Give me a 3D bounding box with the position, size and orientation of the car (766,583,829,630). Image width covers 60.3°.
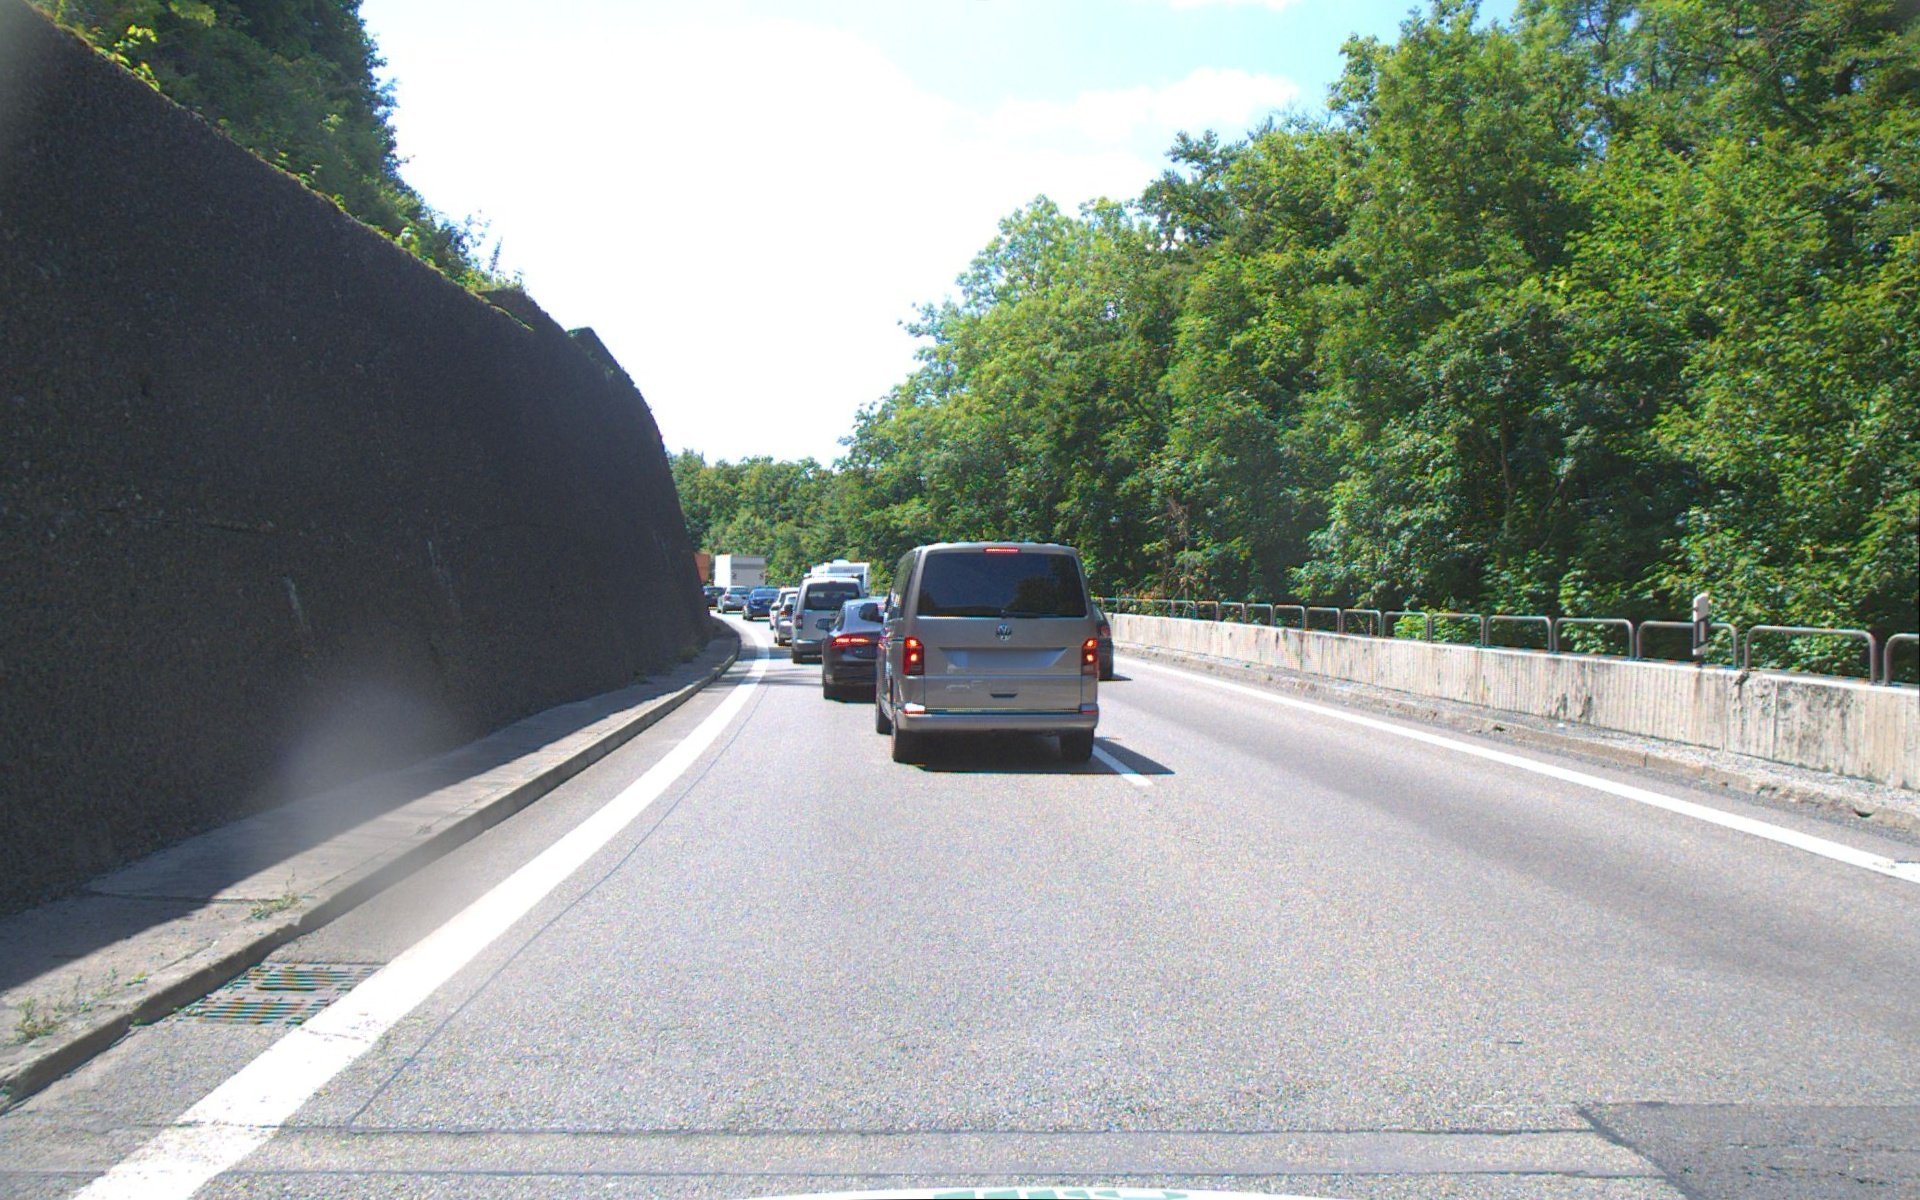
[{"bbox_3d":[-5.971,0.227,60.496,1.862,1.612,3.759,-1,0,-13],"label":"car"}]

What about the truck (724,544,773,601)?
[{"bbox_3d":[-15.418,-1.990,120.033,2.873,3.750,7.705,5,0,-10],"label":"truck"}]

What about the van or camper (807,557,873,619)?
[{"bbox_3d":[-6.054,-0.641,82.764,2.557,2.905,6.320,-1,1,-10],"label":"van or camper"}]

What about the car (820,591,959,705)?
[{"bbox_3d":[-1.064,0.650,24.865,1.867,1.515,4.377,2,0,-3],"label":"car"}]

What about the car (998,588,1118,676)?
[{"bbox_3d":[1.739,0.549,30.621,1.652,1.484,3.996,2,0,-5],"label":"car"}]

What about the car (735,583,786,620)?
[{"bbox_3d":[-9.158,0.050,75.702,1.827,1.648,3.984,0,0,-15],"label":"car"}]

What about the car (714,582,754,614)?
[{"bbox_3d":[-12.318,-0.133,90.020,1.957,1.646,3.991,1,0,-10],"label":"car"}]

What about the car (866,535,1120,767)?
[{"bbox_3d":[0.162,0.426,16.569,1.903,1.965,4.687,1,0,-7],"label":"car"}]

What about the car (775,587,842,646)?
[{"bbox_3d":[-4.316,0.439,47.221,1.737,1.497,3.996,3,0,-5],"label":"car"}]

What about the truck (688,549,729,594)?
[{"bbox_3d":[-21.642,-2.408,142.587,3.105,3.527,8.207,5,0,-8],"label":"truck"}]

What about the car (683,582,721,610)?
[{"bbox_3d":[-15.838,-0.263,101.417,1.724,1.598,3.752,1,0,-18],"label":"car"}]

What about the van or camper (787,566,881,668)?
[{"bbox_3d":[-2.780,0.346,36.705,1.817,1.975,4.161,4,0,-4],"label":"van or camper"}]
